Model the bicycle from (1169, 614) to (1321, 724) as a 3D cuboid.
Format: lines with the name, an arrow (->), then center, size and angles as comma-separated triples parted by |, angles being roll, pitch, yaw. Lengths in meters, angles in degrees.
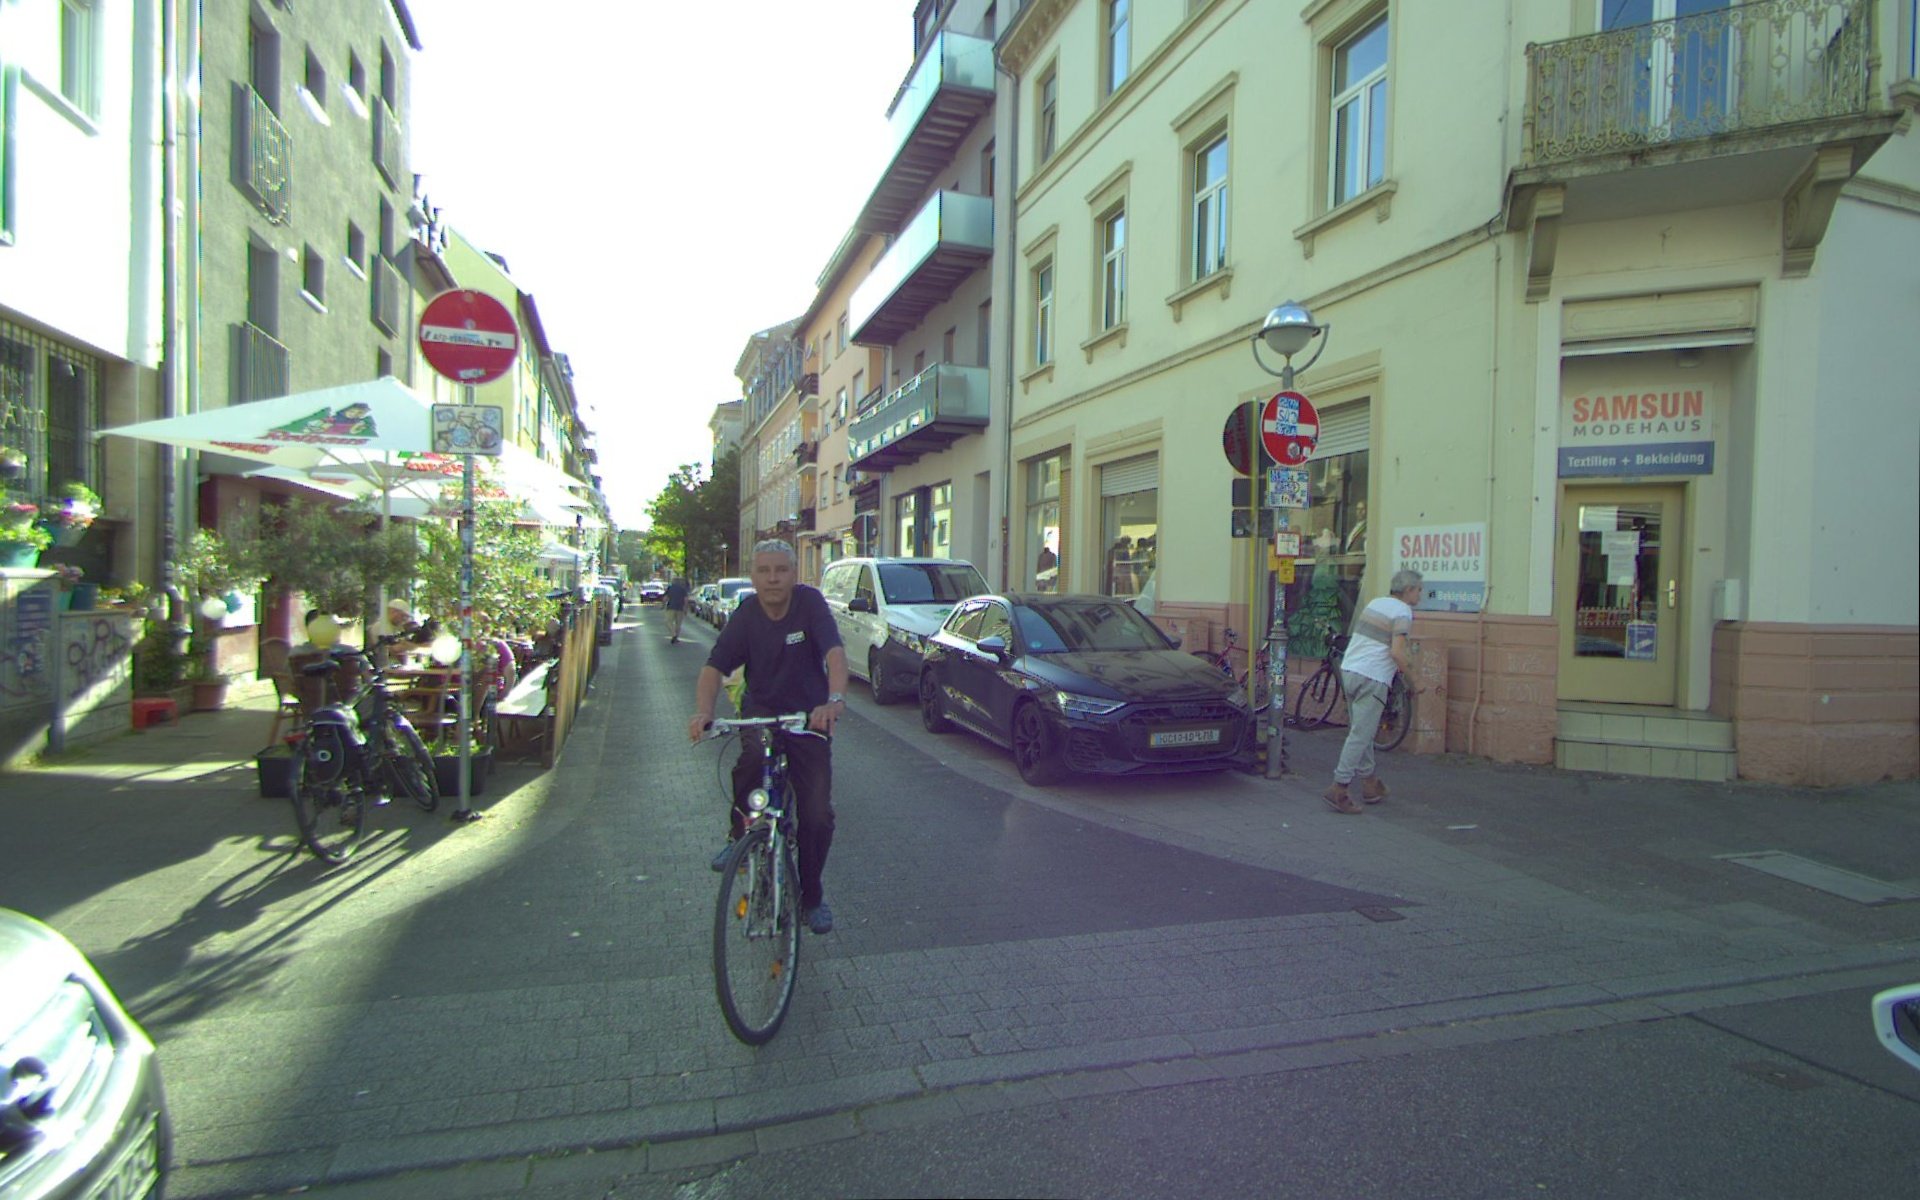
bicycle -> 3.284, 0.763, 11.789 | 0.604, 1.085, 1.916 | 1, 2, -24

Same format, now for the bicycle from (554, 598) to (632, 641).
bicycle -> -9.797, 0.532, 26.885 | 1.895, 1.085, 0.610 | 1, 2, -14

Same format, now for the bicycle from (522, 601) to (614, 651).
bicycle -> -9.130, 0.592, 23.456 | 1.913, 1.085, 0.605 | 0, 2, -42

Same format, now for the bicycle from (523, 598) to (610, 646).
bicycle -> -9.563, 0.538, 24.477 | 1.895, 1.085, 0.610 | 1, 2, -14

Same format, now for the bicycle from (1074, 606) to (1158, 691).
bicycle -> 2.361, 0.712, 15.435 | 0.602, 1.137, 1.923 | 1, 2, -12

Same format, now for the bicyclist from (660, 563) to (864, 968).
bicyclist -> -0.751, 0.595, 4.016 | 0.697, 1.455, 0.789 | 1, 1, -5

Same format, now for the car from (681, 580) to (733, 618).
car -> -11.356, -0.063, 44.871 | 1.746, 1.590, 4.135 | 0, 1, -22

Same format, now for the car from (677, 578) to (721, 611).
car -> -13.920, -0.311, 53.434 | 1.746, 1.674, 4.135 | 0, 1, -22

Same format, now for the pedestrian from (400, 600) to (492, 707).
pedestrian -> -5.942, 0.597, 11.632 | 0.647, 1.160, 0.688 | 3, 2, 25

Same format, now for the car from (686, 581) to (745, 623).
car -> -9.839, 0.050, 40.191 | 1.746, 1.590, 4.135 | 0, 1, -22

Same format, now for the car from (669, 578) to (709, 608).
car -> -15.689, -0.425, 57.995 | 1.746, 1.590, 4.135 | 0, 1, -22

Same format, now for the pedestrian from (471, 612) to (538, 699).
pedestrian -> -5.971, 0.717, 13.207 | 0.667, 1.068, 0.722 | 1, 2, -14

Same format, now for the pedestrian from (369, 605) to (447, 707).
pedestrian -> -6.689, 0.661, 12.182 | 0.647, 1.160, 0.542 | 3, 2, 26

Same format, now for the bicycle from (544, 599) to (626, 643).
bicycle -> -9.715, 0.543, 26.078 | 1.895, 1.085, 0.610 | 1, 2, -14

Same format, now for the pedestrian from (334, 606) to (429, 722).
pedestrian -> -6.120, 0.664, 10.655 | 0.669, 1.170, 0.659 | 1, 2, -9

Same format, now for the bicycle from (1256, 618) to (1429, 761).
bicycle -> 3.670, 0.816, 9.849 | 0.602, 1.164, 1.923 | 1, 2, -12

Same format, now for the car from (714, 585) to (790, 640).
car -> -6.113, 0.319, 29.228 | 1.575, 1.458, 3.566 | 0, 1, -22

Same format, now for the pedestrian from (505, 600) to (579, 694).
pedestrian -> -6.058, 0.662, 14.578 | 0.710, 1.283, 0.680 | 2, 2, 24

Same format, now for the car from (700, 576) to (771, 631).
car -> -7.791, 0.074, 34.580 | 1.746, 1.737, 4.135 | 0, 1, -22

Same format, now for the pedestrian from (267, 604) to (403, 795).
pedestrian -> -4.494, 0.688, 7.267 | 0.649, 1.283, 0.686 | 1, 2, -15

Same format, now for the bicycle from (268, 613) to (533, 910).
bicycle -> -3.271, 0.807, 6.180 | 0.914, 1.377, 2.474 | 1, 0, -17

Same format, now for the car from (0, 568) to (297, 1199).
car -> -3.257, 0.766, 0.927 | 4.103, 1.627, 1.719 | 0, -1, -21

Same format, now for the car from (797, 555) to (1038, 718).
car -> -0.840, 0.368, 14.213 | 1.830, 1.875, 5.075 | 0, 1, -22

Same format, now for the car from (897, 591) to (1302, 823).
car -> 0.916, 0.701, 8.900 | 1.733, 1.475, 4.131 | 0, 1, -22

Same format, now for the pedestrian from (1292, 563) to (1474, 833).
pedestrian -> 2.917, 0.632, 6.986 | 0.851, 1.725, 0.693 | -1, 6, -18

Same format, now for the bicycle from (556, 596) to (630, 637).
bicycle -> -10.318, 0.470, 28.300 | 1.895, 1.085, 0.610 | 1, 2, -14

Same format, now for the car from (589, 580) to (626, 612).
car -> -18.508, -0.218, 52.763 | 1.744, 1.590, 4.139 | 1, 1, -19

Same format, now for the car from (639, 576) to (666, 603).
car -> -23.102, -0.809, 75.425 | 1.744, 1.898, 4.139 | 1, 1, -19

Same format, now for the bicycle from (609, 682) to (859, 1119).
bicycle -> -0.773, 0.982, 3.985 | 0.697, 1.126, 1.933 | 1, 1, -5

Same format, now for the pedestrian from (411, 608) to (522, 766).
pedestrian -> -4.315, 0.735, 8.837 | 0.694, 1.283, 0.848 | 1, 2, -15

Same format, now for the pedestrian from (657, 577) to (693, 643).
pedestrian -> -7.384, 0.260, 26.040 | 0.816, 1.673, 0.738 | 1, 2, -21

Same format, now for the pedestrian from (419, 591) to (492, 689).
pedestrian -> -6.886, 0.529, 13.728 | 0.602, 1.283, 0.660 | 2, 2, 11

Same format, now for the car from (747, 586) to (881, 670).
car -> -2.972, 0.480, 19.739 | 1.733, 1.429, 3.945 | 0, 1, -22

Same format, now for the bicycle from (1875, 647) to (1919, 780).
bicycle -> 8.629, 0.962, 8.378 | 1.789, 1.036, 0.602 | 2, 4, -19

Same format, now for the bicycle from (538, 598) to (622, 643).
bicycle -> -9.547, 0.517, 25.271 | 1.895, 1.085, 0.610 | 1, 2, -14

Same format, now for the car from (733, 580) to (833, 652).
car -> -4.473, 0.328, 24.926 | 1.744, 1.590, 4.391 | 1, 1, -19
